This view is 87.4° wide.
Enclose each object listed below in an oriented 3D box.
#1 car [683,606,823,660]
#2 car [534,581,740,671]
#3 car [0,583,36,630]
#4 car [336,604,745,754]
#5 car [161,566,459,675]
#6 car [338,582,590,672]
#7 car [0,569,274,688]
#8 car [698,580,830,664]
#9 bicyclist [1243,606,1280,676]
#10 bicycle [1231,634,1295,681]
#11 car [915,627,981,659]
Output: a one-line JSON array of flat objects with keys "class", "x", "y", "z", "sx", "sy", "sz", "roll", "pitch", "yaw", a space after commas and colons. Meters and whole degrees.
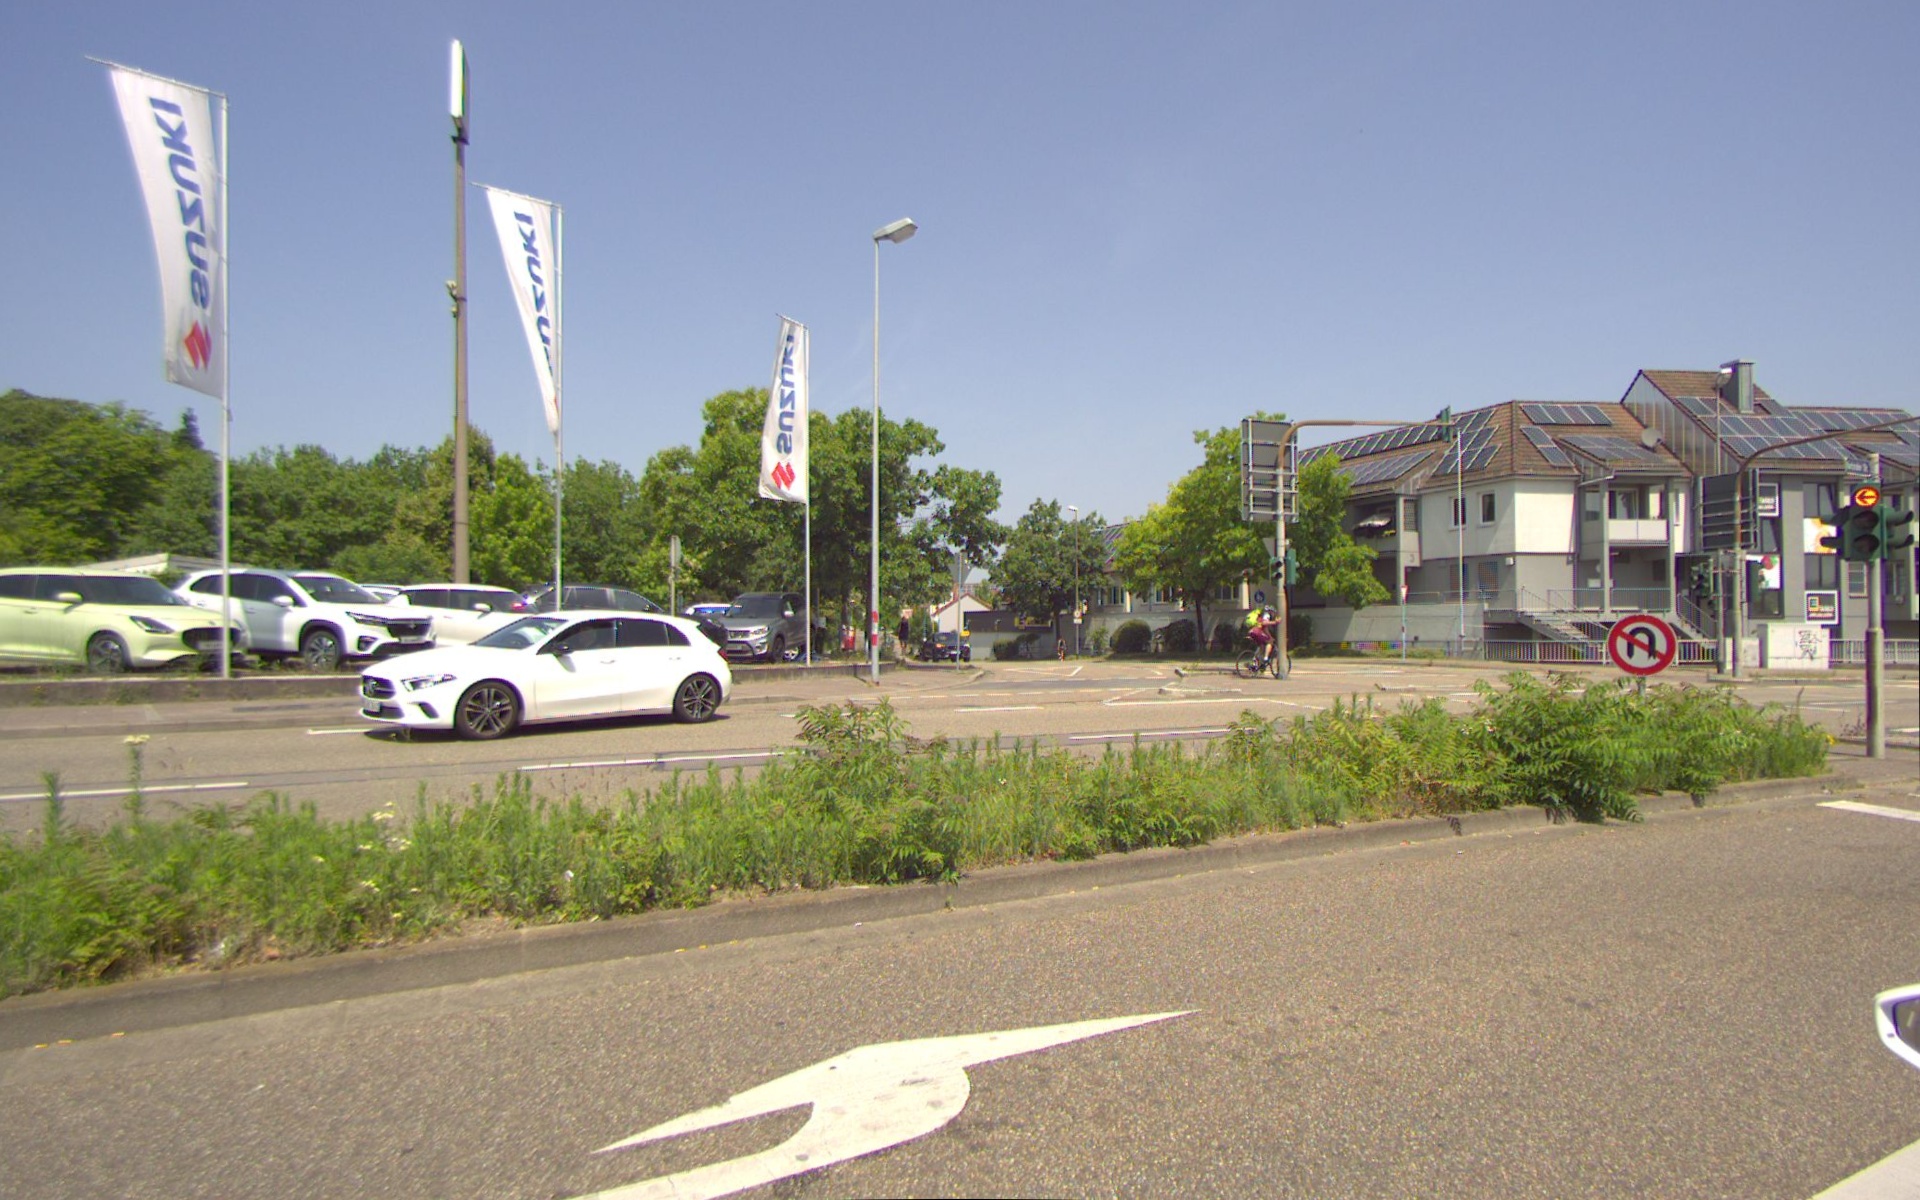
[{"class": "car", "x": -6.434, "y": 1.029, "z": 31.203, "sx": 3.947, "sy": 1.557, "sz": 1.784, "roll": 2, "pitch": -1, "yaw": -26}, {"class": "car", "x": -6.985, "y": 0.586, "z": 21.760, "sx": 3.963, "sy": 1.746, "sz": 1.833, "roll": 3, "pitch": -2, "yaw": -27}, {"class": "car", "x": -30.157, "y": 0.163, "z": 30.187, "sx": 3.321, "sy": 1.392, "sz": 1.638, "roll": 2, "pitch": -1, "yaw": -38}, {"class": "car", "x": -4.878, "y": 0.835, "z": 12.243, "sx": 1.844, "sy": 1.444, "sz": 4.252, "roll": 2, "pitch": 0, "yaw": 37}, {"class": "car", "x": -10.602, "y": 0.308, "z": 16.498, "sx": 3.882, "sy": 1.561, "sz": 1.920, "roll": 1, "pitch": 0, "yaw": 13}, {"class": "car", "x": -9.096, "y": 0.491, "z": 18.525, "sx": 3.882, "sy": 1.451, "sz": 1.717, "roll": 1, "pitch": -2, "yaw": 12}, {"class": "car", "x": -12.337, "y": 0.368, "z": 14.536, "sx": 3.742, "sy": 1.530, "sz": 1.759, "roll": 2, "pitch": 0, "yaw": 9}, {"class": "car", "x": -4.886, "y": 0.608, "z": 25.651, "sx": 1.792, "sy": 1.926, "sz": 4.313, "roll": 1, "pitch": -2, "yaw": 10}, {"class": "bicyclist", "x": 7.342, "y": 0.979, "z": 24.462, "sx": 0.811, "sy": 1.664, "sz": 0.419, "roll": 0, "pitch": 1, "yaw": -31}, {"class": "bicycle", "x": 7.401, "y": 1.396, "z": 24.515, "sx": 1.768, "sy": 1.068, "sz": 0.418, "roll": 0, "pitch": 1, "yaw": -31}, {"class": "car", "x": -0.661, "y": 2.195, "z": 50.416, "sx": 1.973, "sy": 1.505, "sz": 4.423, "roll": 0, "pitch": -3, "yaw": -20}]
